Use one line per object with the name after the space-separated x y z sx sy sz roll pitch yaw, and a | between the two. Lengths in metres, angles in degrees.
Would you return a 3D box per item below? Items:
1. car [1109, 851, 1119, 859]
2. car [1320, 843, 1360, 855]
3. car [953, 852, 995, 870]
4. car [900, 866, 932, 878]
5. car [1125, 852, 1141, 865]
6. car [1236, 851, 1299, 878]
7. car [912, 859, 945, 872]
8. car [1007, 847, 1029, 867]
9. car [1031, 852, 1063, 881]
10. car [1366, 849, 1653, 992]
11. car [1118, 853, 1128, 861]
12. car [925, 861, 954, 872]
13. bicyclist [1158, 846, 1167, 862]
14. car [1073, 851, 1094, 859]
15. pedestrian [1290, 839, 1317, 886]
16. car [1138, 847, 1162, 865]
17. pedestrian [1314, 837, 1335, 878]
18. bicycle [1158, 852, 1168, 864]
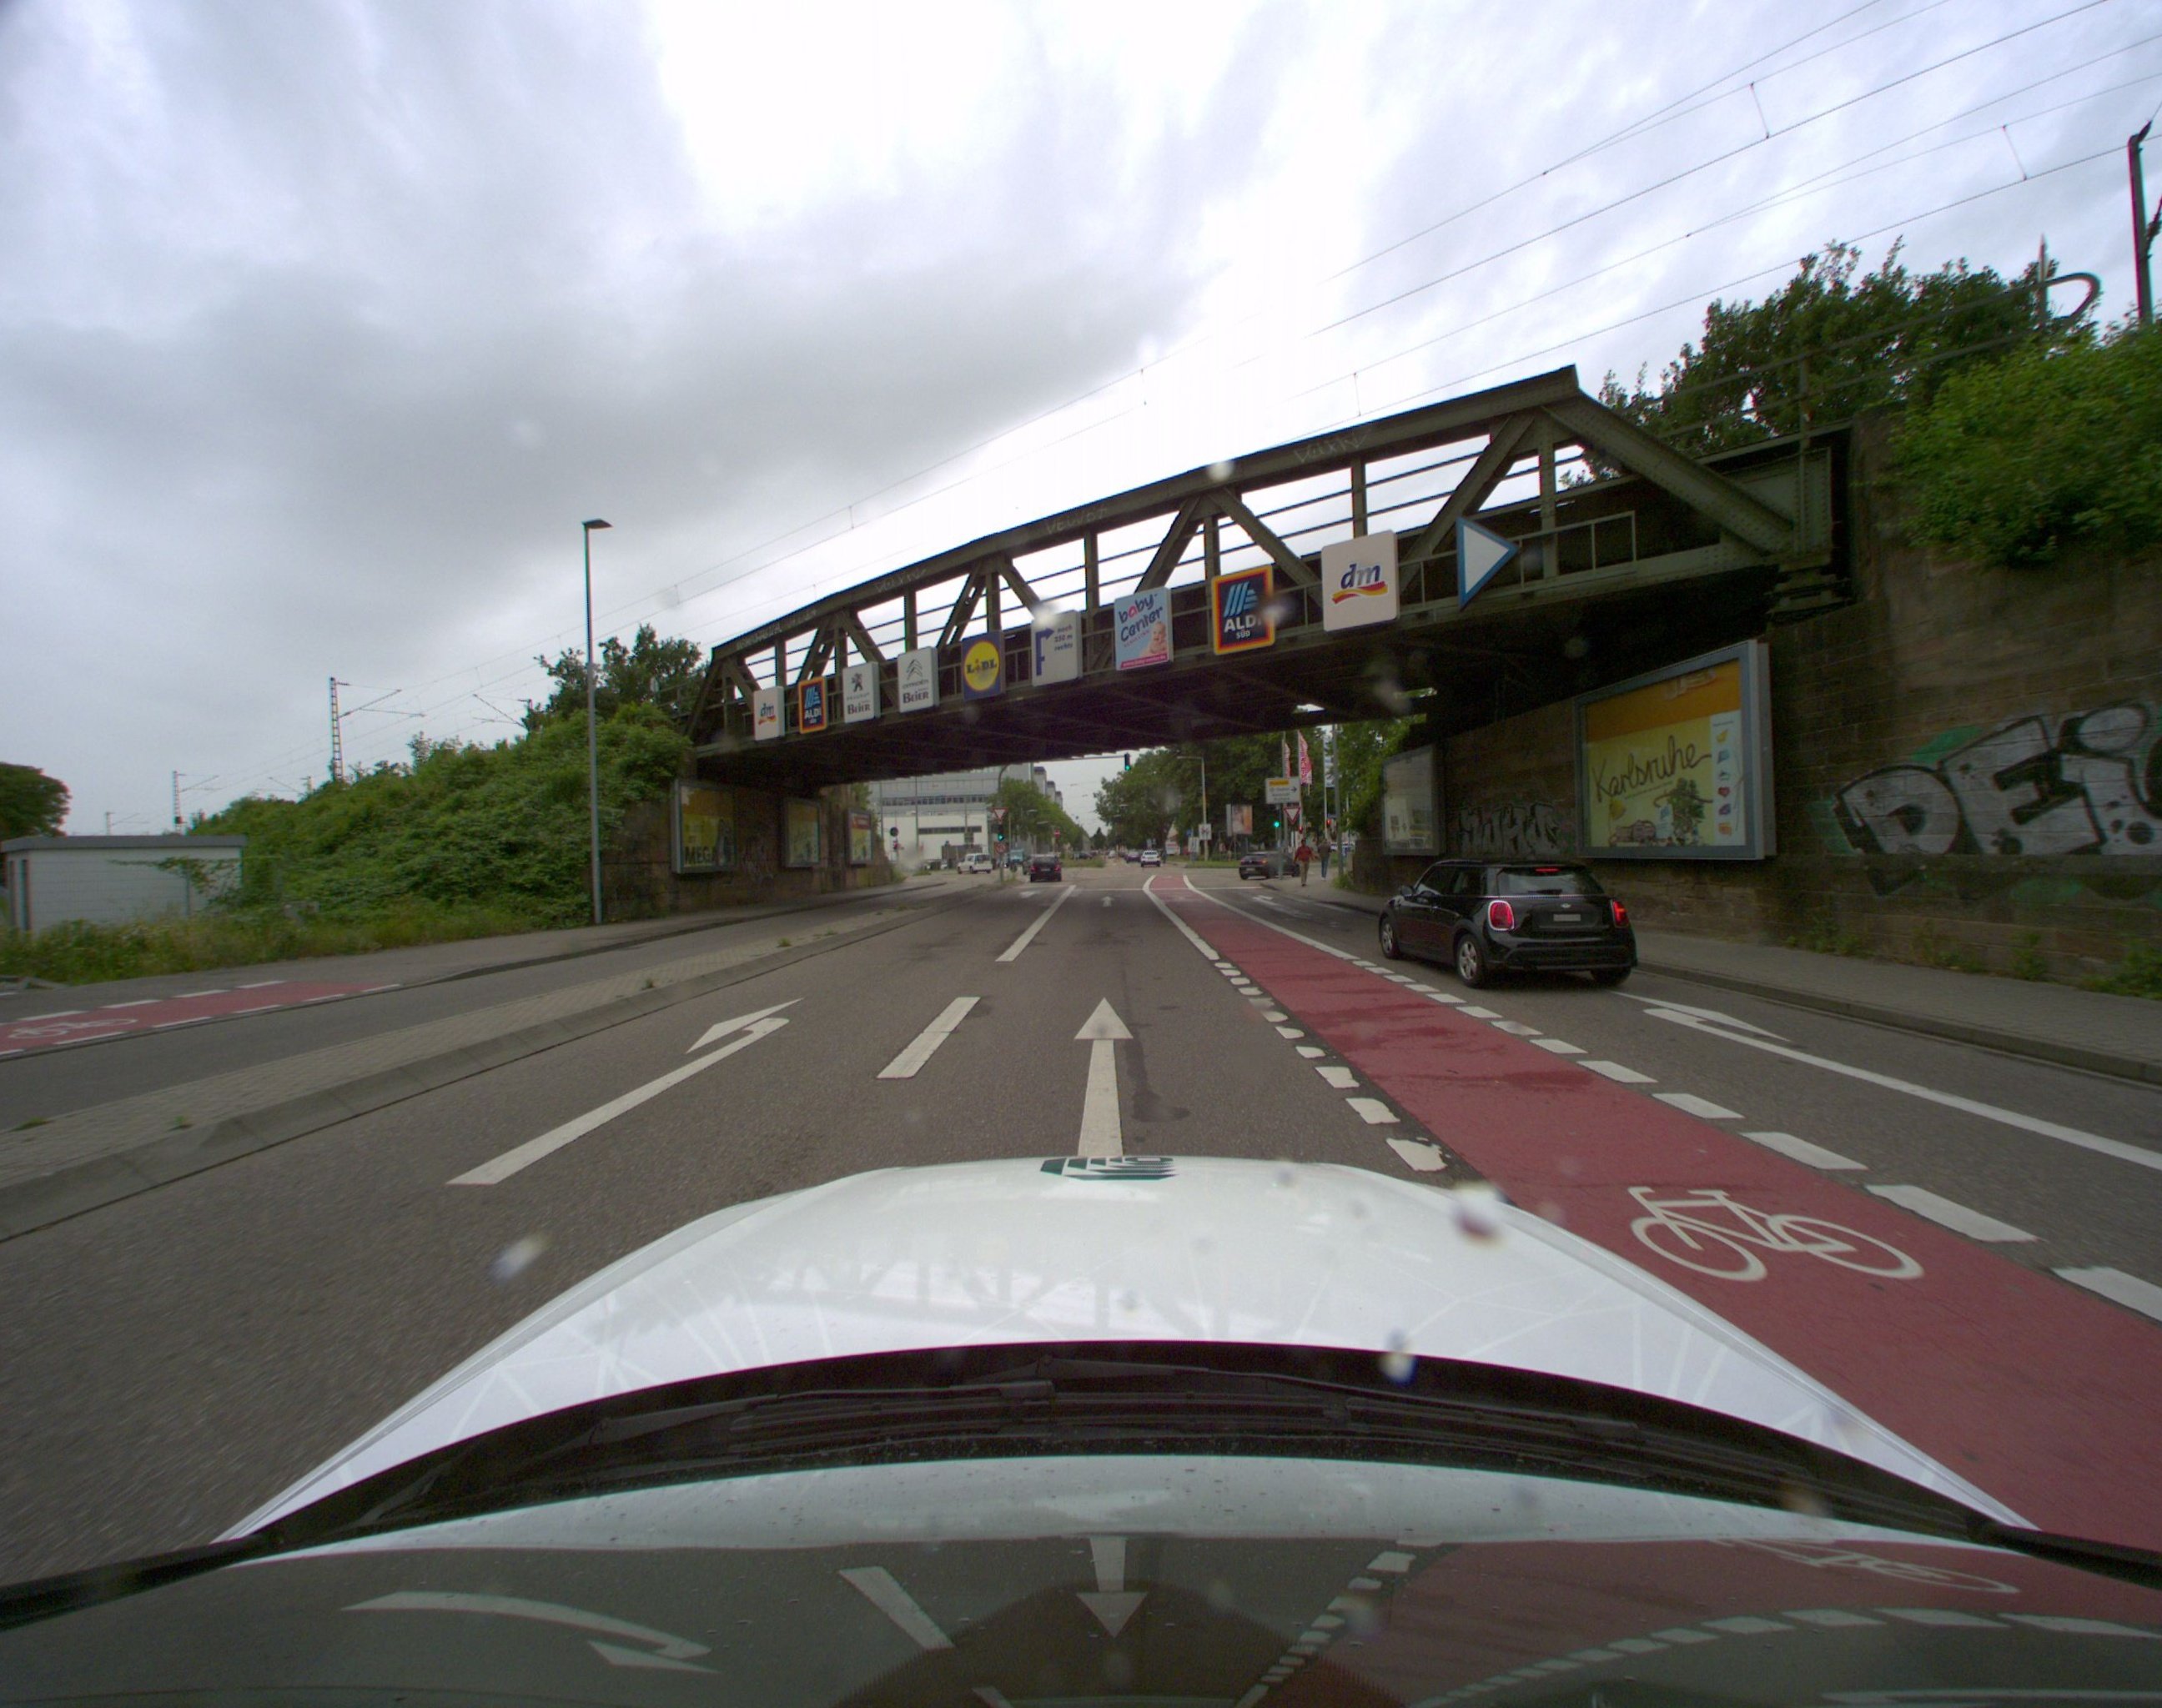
6.895 0.208 170.252 1.790 1.513 3.703 -1 1 -2 | car
34.253 -0.697 107.684 4.660 1.497 2.170 0 0 -1 | car
-9.683 0.580 73.470 1.975 1.527 4.961 -1 1 -31 | car
-24.779 2.683 122.257 4.194 1.532 1.914 -3 0 2 | car
6.631 0.561 103.882 1.679 1.513 3.704 -1 1 -2 | car
9.483 0.501 41.290 1.632 1.281 3.441 0 1 42 | car
-18.972 1.446 101.444 3.627 1.527 1.783 -2 0 20 | car
-9.392 0.367 121.519 2.317 2.825 5.957 -2 0 5 | car
-1.912 0.696 47.051 1.764 1.527 3.667 -1 1 -2 | car
5.062 0.669 10.248 1.673 1.431 3.774 -1 1 1 | car
9.300 0.645 179.663 1.871 1.632 4.000 -3 0 0 | car
-23.416 2.100 135.069 4.514 1.634 1.912 -3 0 -2 | car
8.842 0.007 88.047 0.813 1.630 1.235 -2 0 1 | bicyclist
0.548 0.222 150.957 3.870 1.556 1.825 0 0 0 | car
8.596 0.316 31.476 0.866 1.759 0.789 -2 0 9 | pedestrian
6.417 0.184 76.379 1.818 1.600 3.773 -1 1 -2 | car
9.991 0.129 33.415 0.735 1.640 0.782 -2 0 19 | pedestrian
8.864 0.444 88.049 0.813 1.212 2.684 -2 0 1 | bicycle
